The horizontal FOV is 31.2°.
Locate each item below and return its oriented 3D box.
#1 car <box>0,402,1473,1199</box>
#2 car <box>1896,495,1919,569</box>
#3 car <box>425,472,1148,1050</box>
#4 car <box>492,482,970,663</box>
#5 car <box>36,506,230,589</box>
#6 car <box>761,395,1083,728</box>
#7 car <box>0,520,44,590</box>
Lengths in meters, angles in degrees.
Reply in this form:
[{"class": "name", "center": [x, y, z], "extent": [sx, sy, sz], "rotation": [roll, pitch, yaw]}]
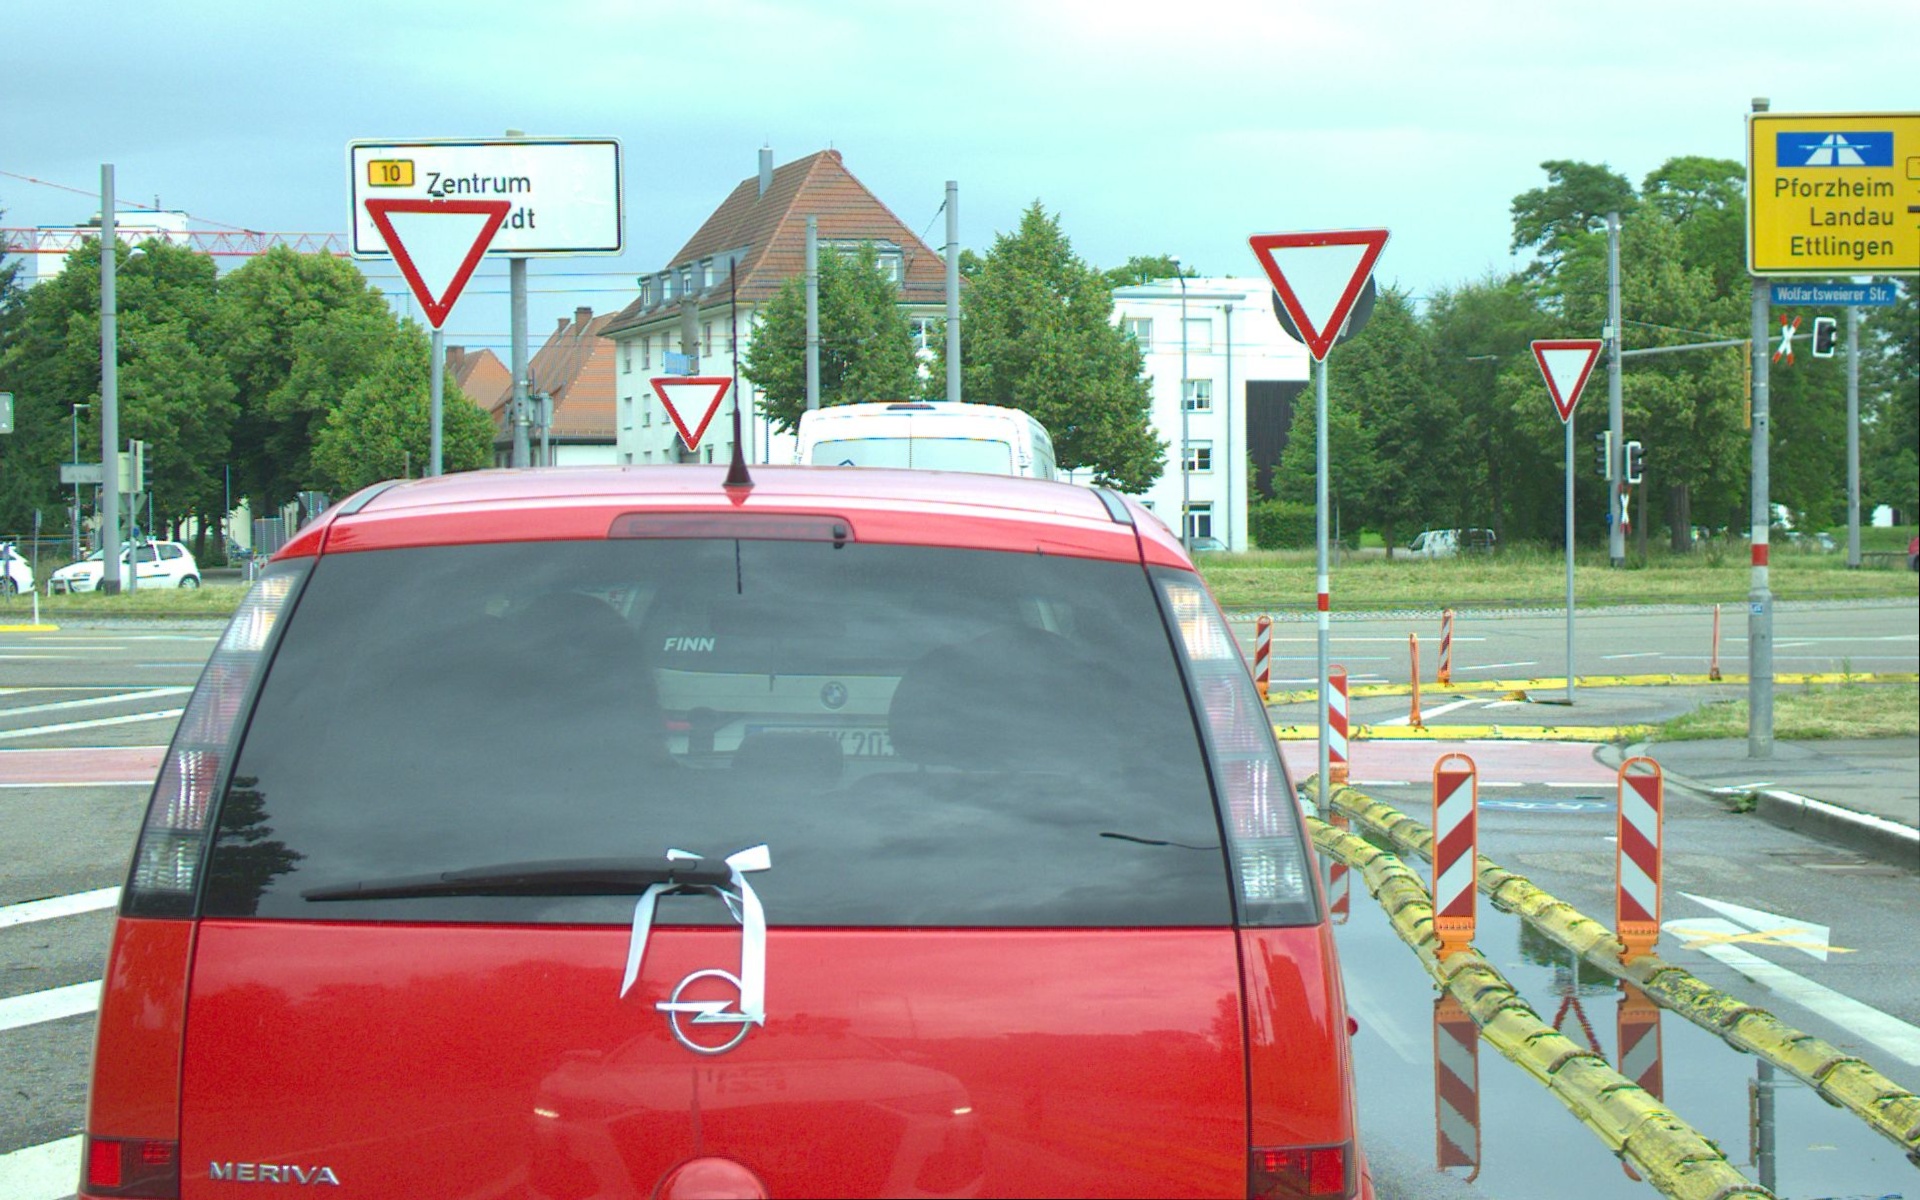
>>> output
[{"class": "car", "center": [-0.320, 0.576, 5.492], "extent": [1.673, 1.635, 3.627], "rotation": [1, 1, -1]}, {"class": "car", "center": [26.365, -1.751, 87.384], "extent": [2.108, 1.911, 4.891], "rotation": [-1, 1, -30]}, {"class": "car", "center": [-0.528, 0.415, 12.191], "extent": [2.059, 1.642, 4.607], "rotation": [1, 1, -1]}, {"class": "car", "center": [-2.476, -0.302, 37.762], "extent": [4.835, 1.893, 2.098], "rotation": [0, 1, 12]}, {"class": "car", "center": [-20.464, -1.319, 85.204], "extent": [1.997, 2.007, 4.471], "rotation": [0, 1, 35]}, {"class": "car", "center": [-0.212, -0.350, 28.942], "extent": [2.195, 2.531, 4.961], "rotation": [1, 1, 5]}, {"class": "car", "center": [-24.012, -1.039, 80.562], "extent": [1.998, 1.629, 4.665], "rotation": [0, 1, 37]}]
